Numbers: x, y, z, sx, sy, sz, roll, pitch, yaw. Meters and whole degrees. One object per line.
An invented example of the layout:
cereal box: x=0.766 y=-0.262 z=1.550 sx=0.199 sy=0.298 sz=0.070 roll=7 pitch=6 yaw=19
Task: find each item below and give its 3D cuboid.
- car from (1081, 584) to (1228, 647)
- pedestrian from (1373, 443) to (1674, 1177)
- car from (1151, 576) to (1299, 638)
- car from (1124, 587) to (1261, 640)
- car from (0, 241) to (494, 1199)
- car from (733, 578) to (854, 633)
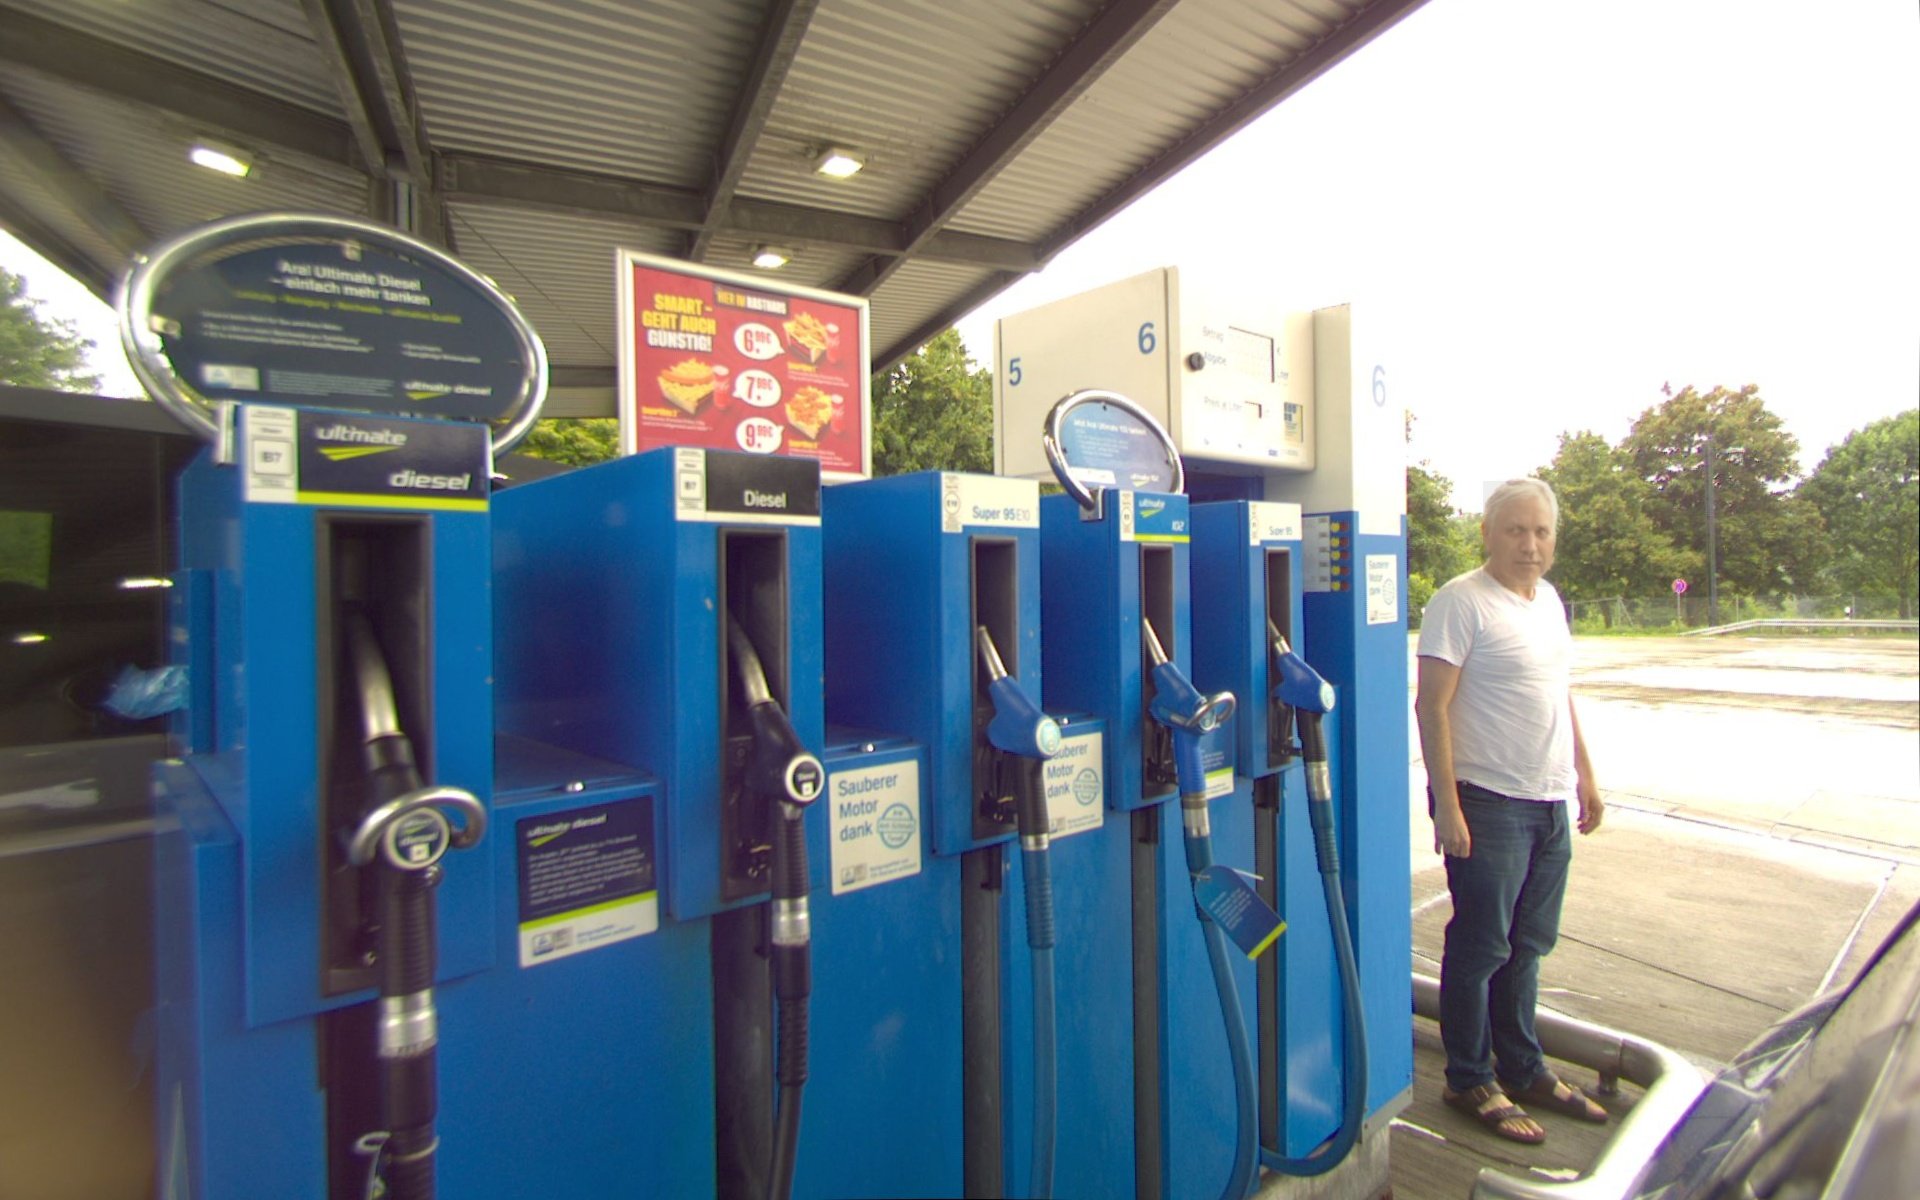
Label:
car: x=5.799 y=0.419 z=30.016 sx=4.123 sy=1.752 sz=1.990 roll=0 pitch=0 yaw=17
pedestrian: x=1.607 y=0.515 z=2.897 sx=0.621 sy=1.832 sz=0.495 roll=-2 pitch=1 yaw=-31
car: x=8.924 y=0.207 z=34.336 sx=4.700 sy=2.011 sz=2.007 roll=0 pitch=0 yaw=14
car: x=7.387 y=0.404 z=32.151 sx=4.123 sy=1.576 sz=1.990 roll=0 pitch=0 yaw=17
car: x=-3.032 y=0.410 z=1.482 sx=3.930 sy=1.973 sz=1.819 roll=0 pitch=0 yaw=-41
car: x=-5.554 y=0.150 z=33.459 sx=1.967 sy=1.683 sz=4.170 roll=0 pitch=0 yaw=-44
